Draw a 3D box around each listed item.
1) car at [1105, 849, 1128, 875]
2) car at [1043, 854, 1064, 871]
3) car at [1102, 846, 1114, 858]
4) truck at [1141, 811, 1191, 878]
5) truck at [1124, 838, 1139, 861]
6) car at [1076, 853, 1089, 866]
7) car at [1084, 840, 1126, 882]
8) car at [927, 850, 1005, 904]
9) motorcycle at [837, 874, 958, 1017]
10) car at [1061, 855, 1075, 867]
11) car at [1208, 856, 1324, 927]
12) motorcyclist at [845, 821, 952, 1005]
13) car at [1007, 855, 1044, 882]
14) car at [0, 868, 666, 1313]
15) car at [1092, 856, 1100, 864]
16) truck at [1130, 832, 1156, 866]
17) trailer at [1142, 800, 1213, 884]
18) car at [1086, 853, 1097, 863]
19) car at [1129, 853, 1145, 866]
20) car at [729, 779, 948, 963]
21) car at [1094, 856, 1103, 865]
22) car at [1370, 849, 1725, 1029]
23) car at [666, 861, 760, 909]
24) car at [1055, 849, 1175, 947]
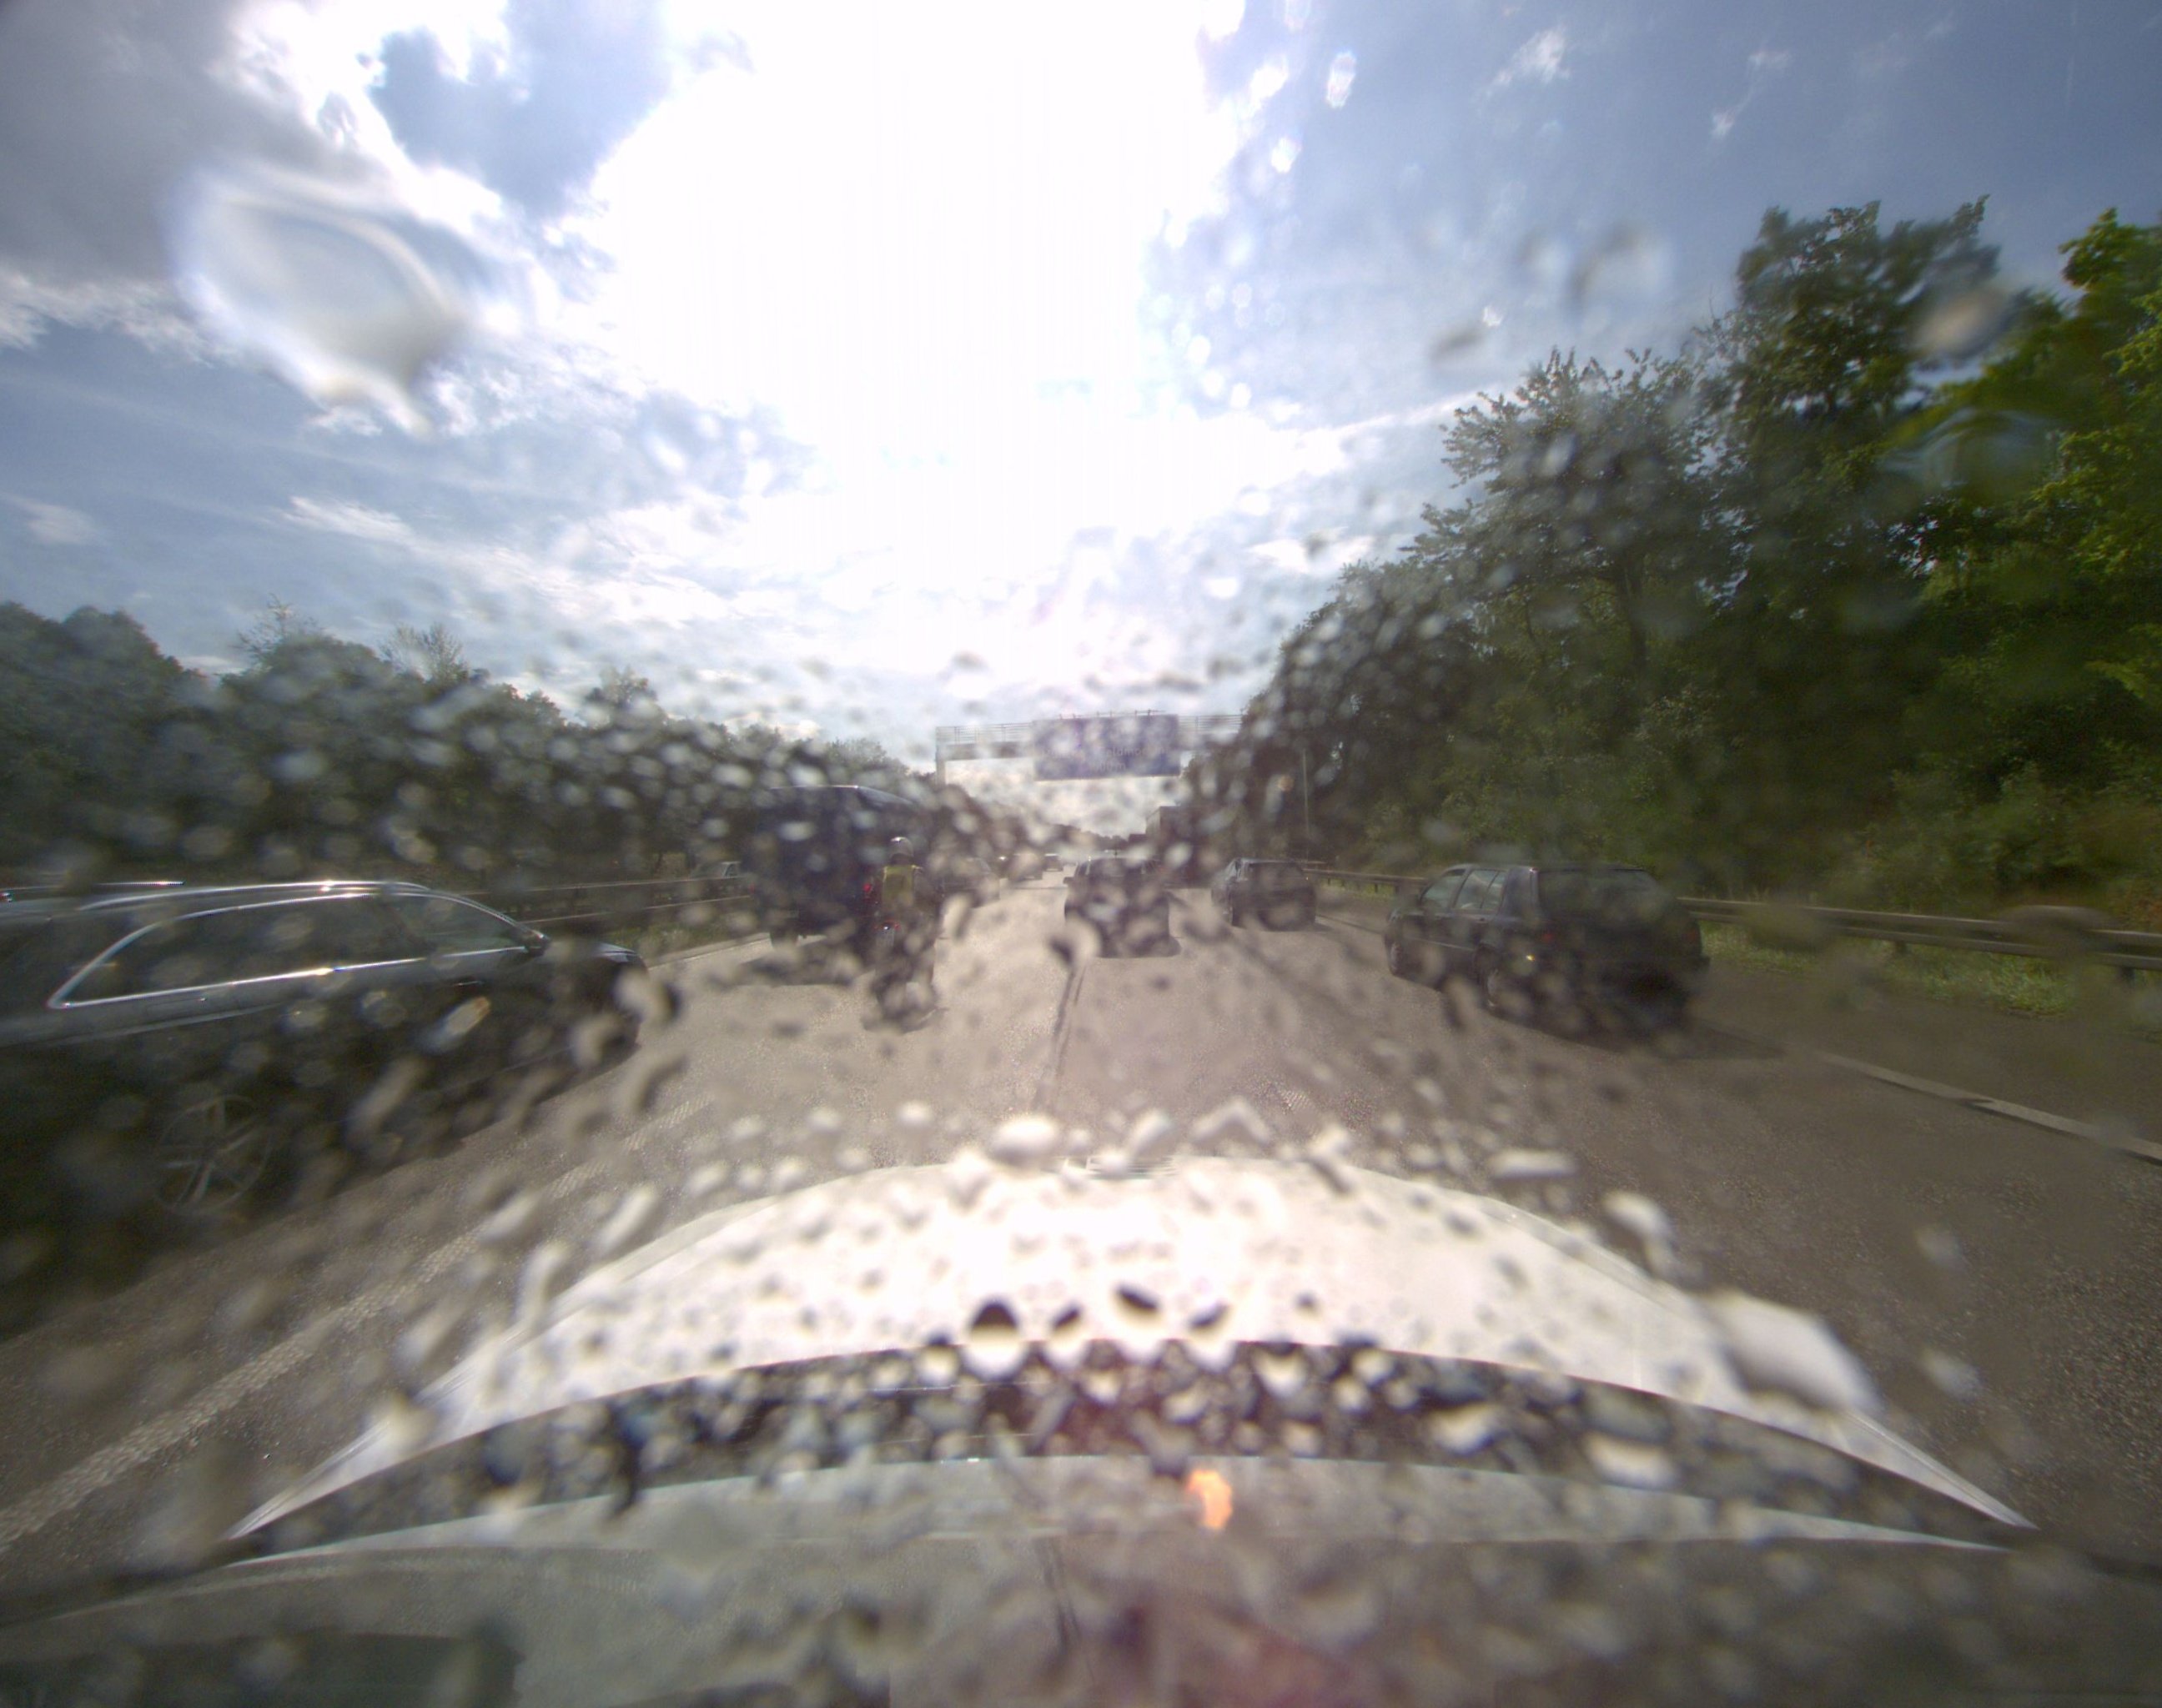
[{"bbox_3d":[2.661,0.581,61.727,1.669,1.936,3.775,-1,0,2],"label":"car"},{"bbox_3d":[-2.526,0.768,76.070,1.669,1.597,3.438,-1,0,2],"label":"car"},{"bbox_3d":[3.493,-0.211,105.133,1.625,1.490,3.438,-1,0,2],"label":"car"},{"bbox_3d":[5.806,-0.609,56.376,3.040,4.325,5.890,-1,0,3],"label":"truck"},{"bbox_3d":[10.807,-0.872,175.449,2.870,4.687,12.665,-1,0,2],"label":"truck"},{"bbox_3d":[0.266,0.872,133.345,1.986,2.014,4.002,-1,0,2],"label":"car"},{"bbox_3d":[1.224,0.347,41.236,1.986,2.014,4.001,-1,0,2],"label":"car"},{"bbox_3d":[-3.675,0.701,26.746,1.751,1.594,4.333,-1,0,2],"label":"car"},{"bbox_3d":[-1.867,0.877,8.635,0.817,1.263,2.116,0,0,-1],"label":"motorcycle"},{"bbox_3d":[-1.709,0.947,107.896,1.669,1.490,3.438,-1,0,2],"label":"car"},{"bbox_3d":[4.004,0.749,18.323,1.748,1.396,4.370,-1,0,2],"label":"car"},{"bbox_3d":[-1.867,0.566,8.534,0.819,1.761,1.390,0,-1,-1],"label":"motorcyclist"},{"bbox_3d":[-3.429,0.882,50.969,1.885,1.628,4.197,-1,0,2],"label":"car"},{"bbox_3d":[-4.372,0.827,4.508,1.712,1.411,4.470,-1,0,2],"label":"car"},{"bbox_3d":[3.726,1.501,199.574,1.986,2.014,4.002,-1,0,2],"label":"car"},{"bbox_3d":[8.358,-0.695,111.118,3.189,4.404,9.439,-1,0,3],"label":"truck"},{"bbox_3d":[5.509,-0.605,49.102,3.076,4.312,14.112,-1,0,2],"label":"trailer"},{"bbox_3d":[1.994,0.749,156.783,1.986,2.014,4.002,-1,0,2],"label":"car"},{"bbox_3d":[6.533,0.672,95.267,1.669,1.490,3.438,-1,0,2],"label":"car"},{"bbox_3d":[-4.002,0.247,14.740,2.008,2.648,5.779,-1,0,2],"label":"car"},{"bbox_3d":[3.940,1.468,179.699,1.986,2.014,4.002,-1,0,2],"label":"car"},{"bbox_3d":[4.511,0.704,8.593,1.645,1.456,3.745,-1,0,1],"label":"car"},{"bbox_3d":[-16.637,1.326,37.095,1.986,2.014,4.733,-1,0,2],"label":"car"},{"bbox_3d":[0.632,0.712,15.305,1.907,1.565,4.316,-1,0,2],"label":"car"}]
